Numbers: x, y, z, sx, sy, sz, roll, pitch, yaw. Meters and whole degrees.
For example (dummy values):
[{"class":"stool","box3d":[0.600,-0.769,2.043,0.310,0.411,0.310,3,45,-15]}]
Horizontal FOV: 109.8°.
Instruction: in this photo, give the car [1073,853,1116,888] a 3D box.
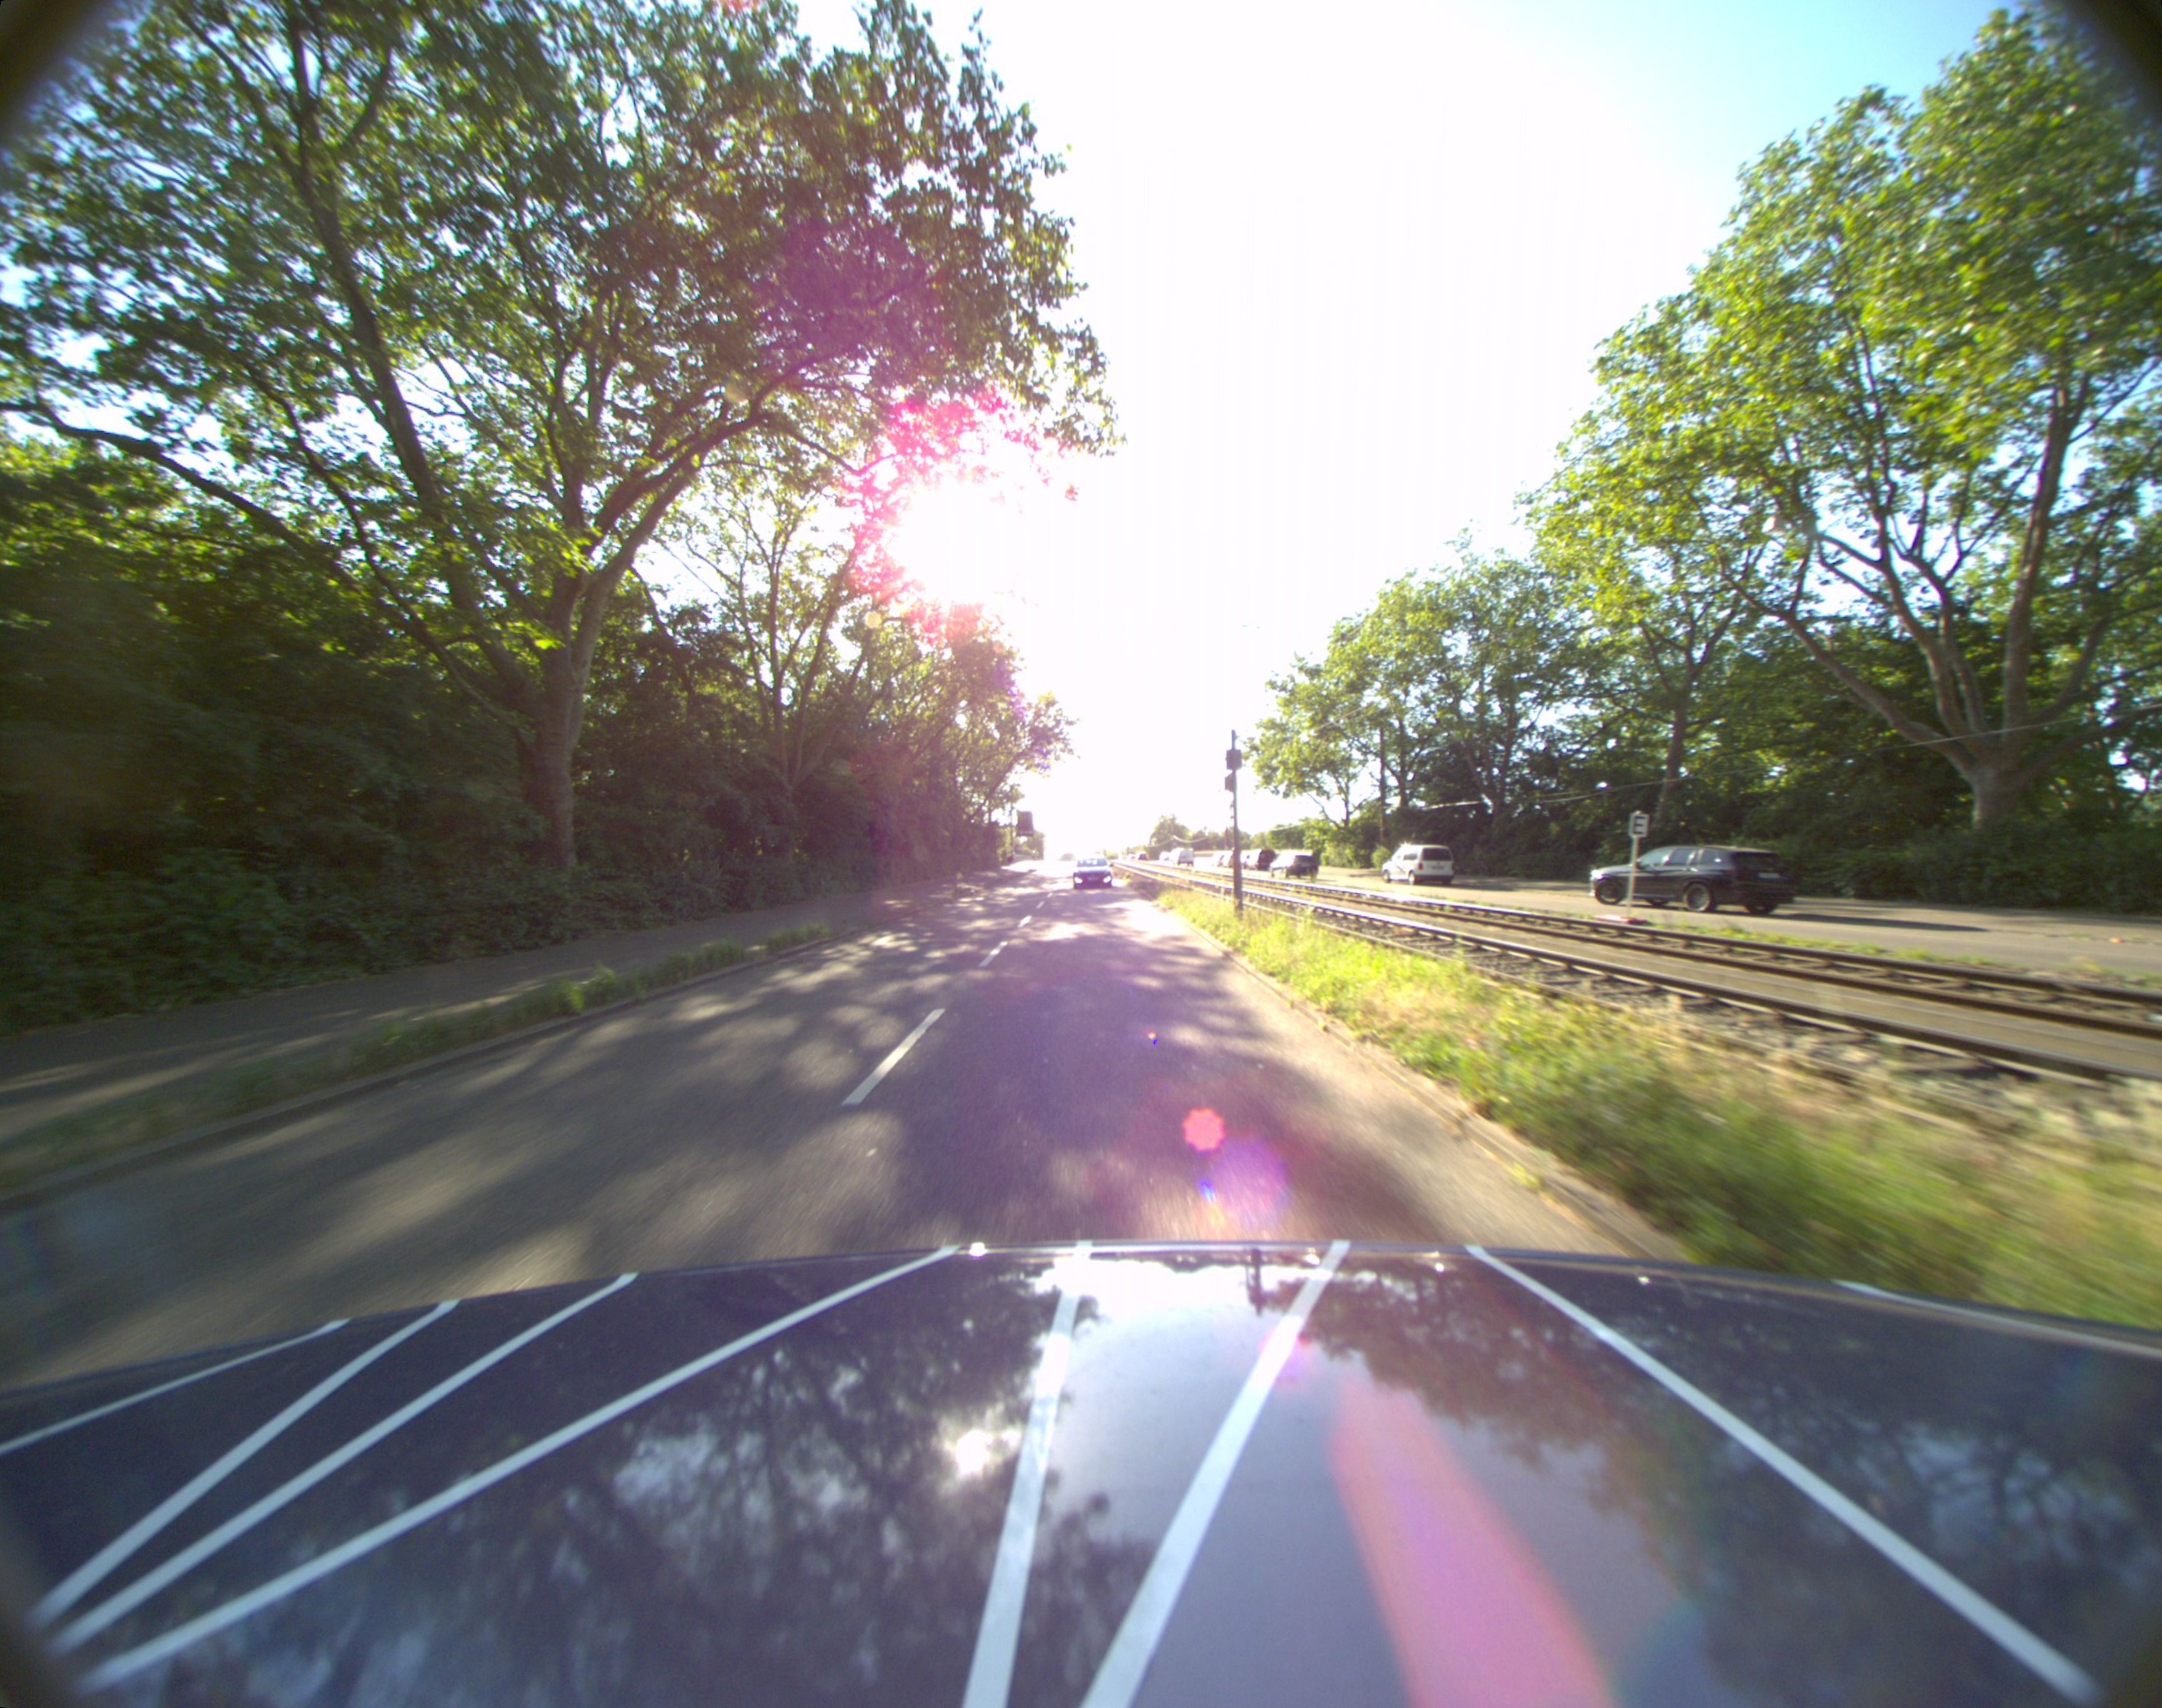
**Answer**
[{"class":"car","box3d":[0.574,0.729,35.593,1.799,1.501,4.000,-3,0,-1]}]

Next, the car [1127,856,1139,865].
[{"class":"car","box3d":[11.070,1.343,161.766,1.988,1.841,4.961,0,1,-1]}]

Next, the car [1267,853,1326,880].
[{"class":"car","box3d":[12.297,0.675,43.715,1.925,1.407,4.748,1,1,-2]}]

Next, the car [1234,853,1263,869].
[{"class":"car","box3d":[15.188,0.601,69.211,1.659,1.434,3.784,0,1,-3]}]

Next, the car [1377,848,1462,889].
[{"class":"car","box3d":[15.743,0.621,35.592,1.832,1.830,4.393,0,1,-3]}]

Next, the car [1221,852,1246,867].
[{"class":"car","box3d":[14.968,0.509,74.694,1.658,1.434,3.784,0,1,-2]}]

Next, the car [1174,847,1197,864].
[{"class":"car","box3d":[11.754,0.171,86.107,1.832,1.841,5.035,0,1,-1]}]

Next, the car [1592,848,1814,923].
[{"class":"car","box3d":[15.813,0.716,19.681,1.832,1.709,4.391,0,1,-7]}]

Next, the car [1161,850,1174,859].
[{"class":"car","box3d":[14.523,0.034,127.942,1.658,1.491,3.924,0,1,0]}]

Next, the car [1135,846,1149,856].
[{"class":"car","box3d":[11.098,-0.533,138.145,1.988,1.841,4.961,0,1,-1]}]

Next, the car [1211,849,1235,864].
[{"class":"car","box3d":[14.936,0.224,80.090,1.659,1.491,3.924,0,1,-3]}]

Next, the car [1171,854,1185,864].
[{"class":"car","box3d":[14.843,0.811,116.591,1.658,1.491,3.924,0,1,0]}]

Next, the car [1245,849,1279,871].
[{"class":"car","box3d":[15.129,0.486,63.762,1.735,1.730,3.898,0,1,-3]}]
